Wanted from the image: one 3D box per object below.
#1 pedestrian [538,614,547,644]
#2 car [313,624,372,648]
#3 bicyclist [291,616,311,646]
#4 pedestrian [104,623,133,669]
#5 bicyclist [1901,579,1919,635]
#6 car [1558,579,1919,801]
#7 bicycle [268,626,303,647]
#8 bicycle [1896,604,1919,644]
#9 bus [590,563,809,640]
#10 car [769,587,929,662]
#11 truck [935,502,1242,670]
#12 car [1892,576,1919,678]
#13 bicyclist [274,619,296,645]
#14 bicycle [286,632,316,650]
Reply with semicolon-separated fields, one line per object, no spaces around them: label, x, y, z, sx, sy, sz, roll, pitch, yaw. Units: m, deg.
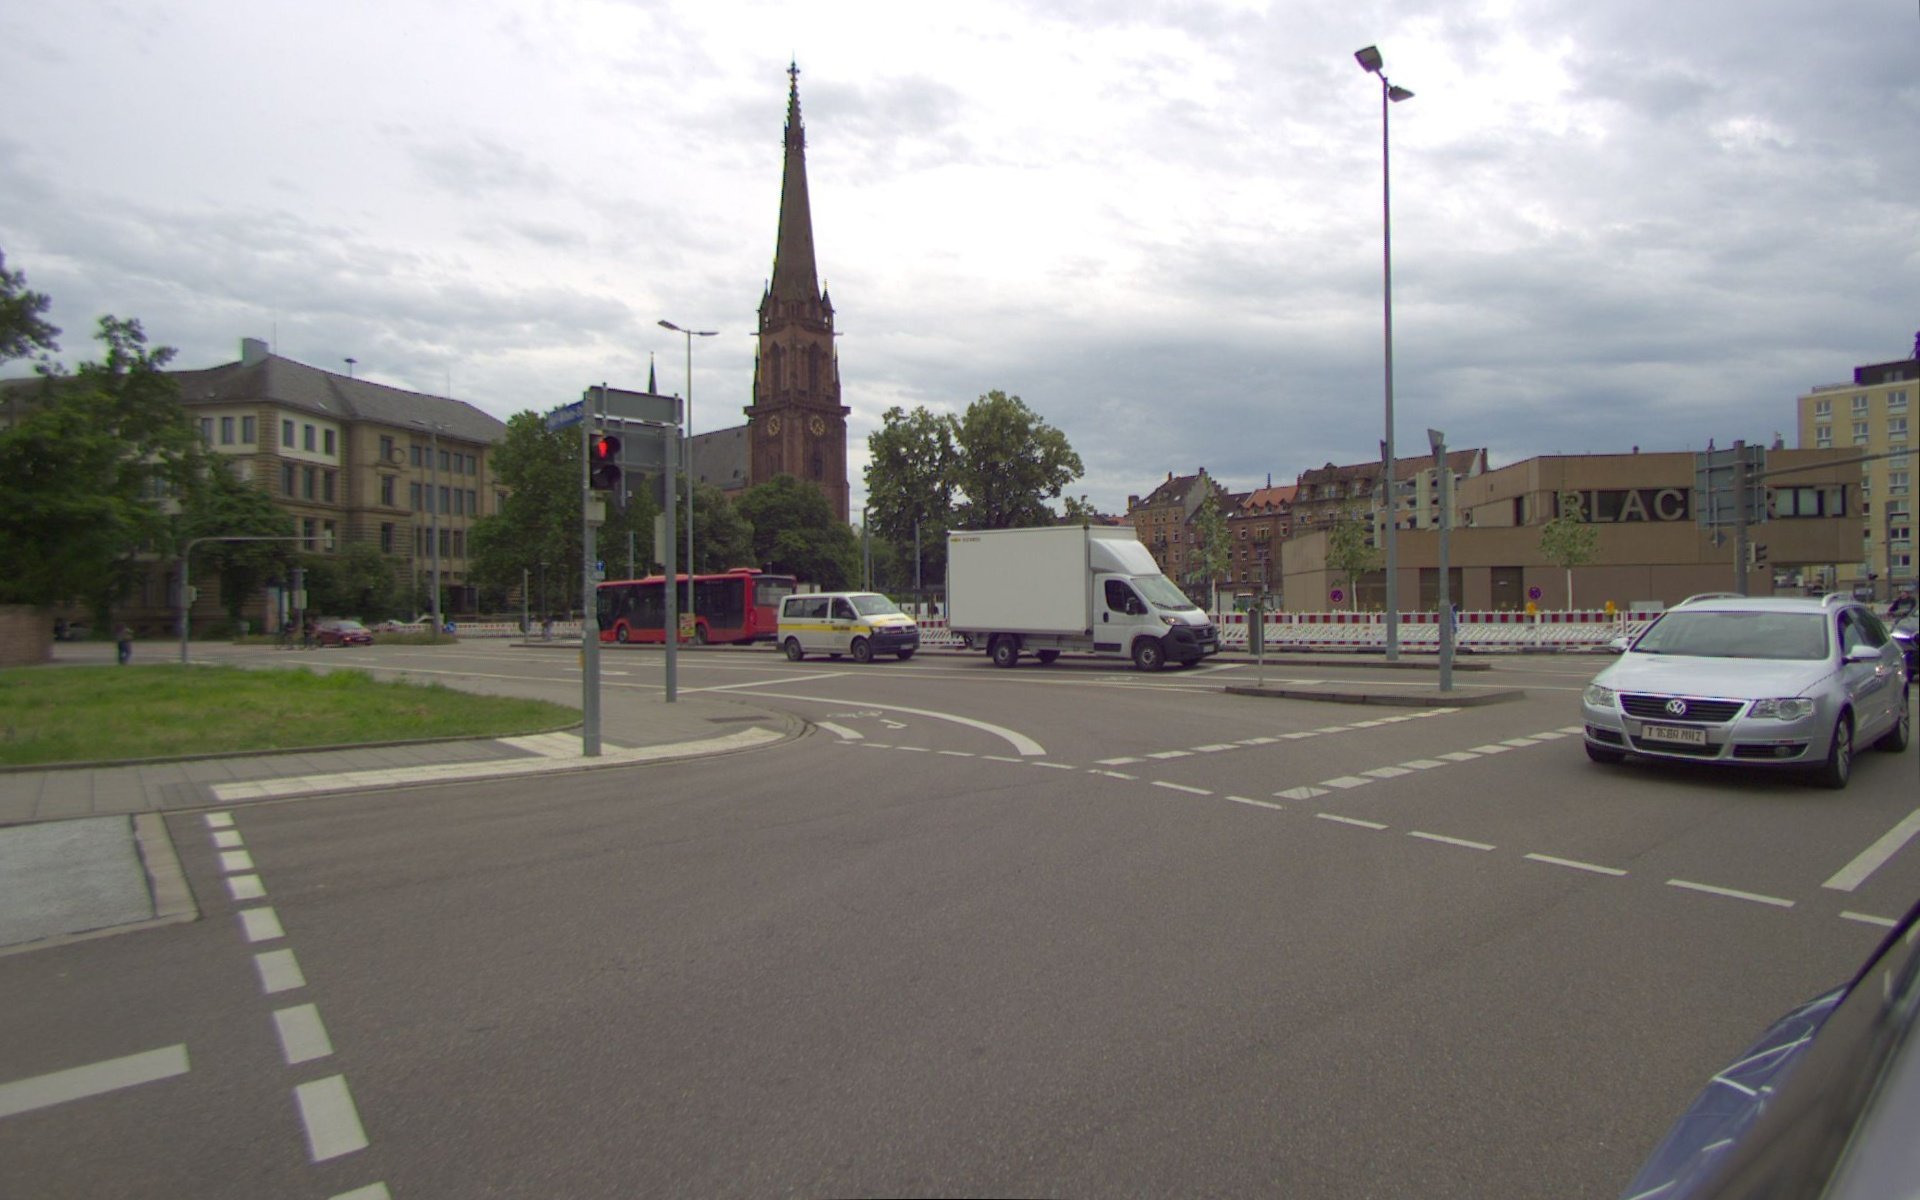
pedestrian;-24.621;1.704;59.720;0.372;1.726;0.366;0;0;44
car;-34.549;2.017;56.619;3.510;1.171;1.430;1;0;33
bicyclist;-34.943;1.618;53.690;0.775;1.540;0.595;0;0;30
pedestrian;-31.150;1.694;37.463;0.678;1.659;0.873;0;-2;-31
bicyclist;28.446;0.208;29.937;0.867;1.656;0.695;0;0;-34
car;7.370;0.620;9.295;4.446;1.570;1.828;-1;0;-40
bicycle;-36.978;2.016;55.475;2.203;1.051;0.784;1;0;31
bicycle;28.475;0.713;29.960;1.831;1.144;0.695;0;0;-34
bus;-11.546;0.197;43.645;12.044;2.945;2.894;-2;-1;42
car;-3.252;0.694;29.142;4.694;1.943;1.892;-2;1;42
truck;2.837;-0.235;23.863;6.821;3.454;2.525;-2;0;40
car;17.594;0.401;17.171;4.409;1.645;1.912;-1;0;-38
bicyclist;-37.002;1.754;55.487;0.735;1.374;0.784;0;0;31
bicycle;-34.984;2.170;53.701;1.805;0.830;0.595;1;0;30
